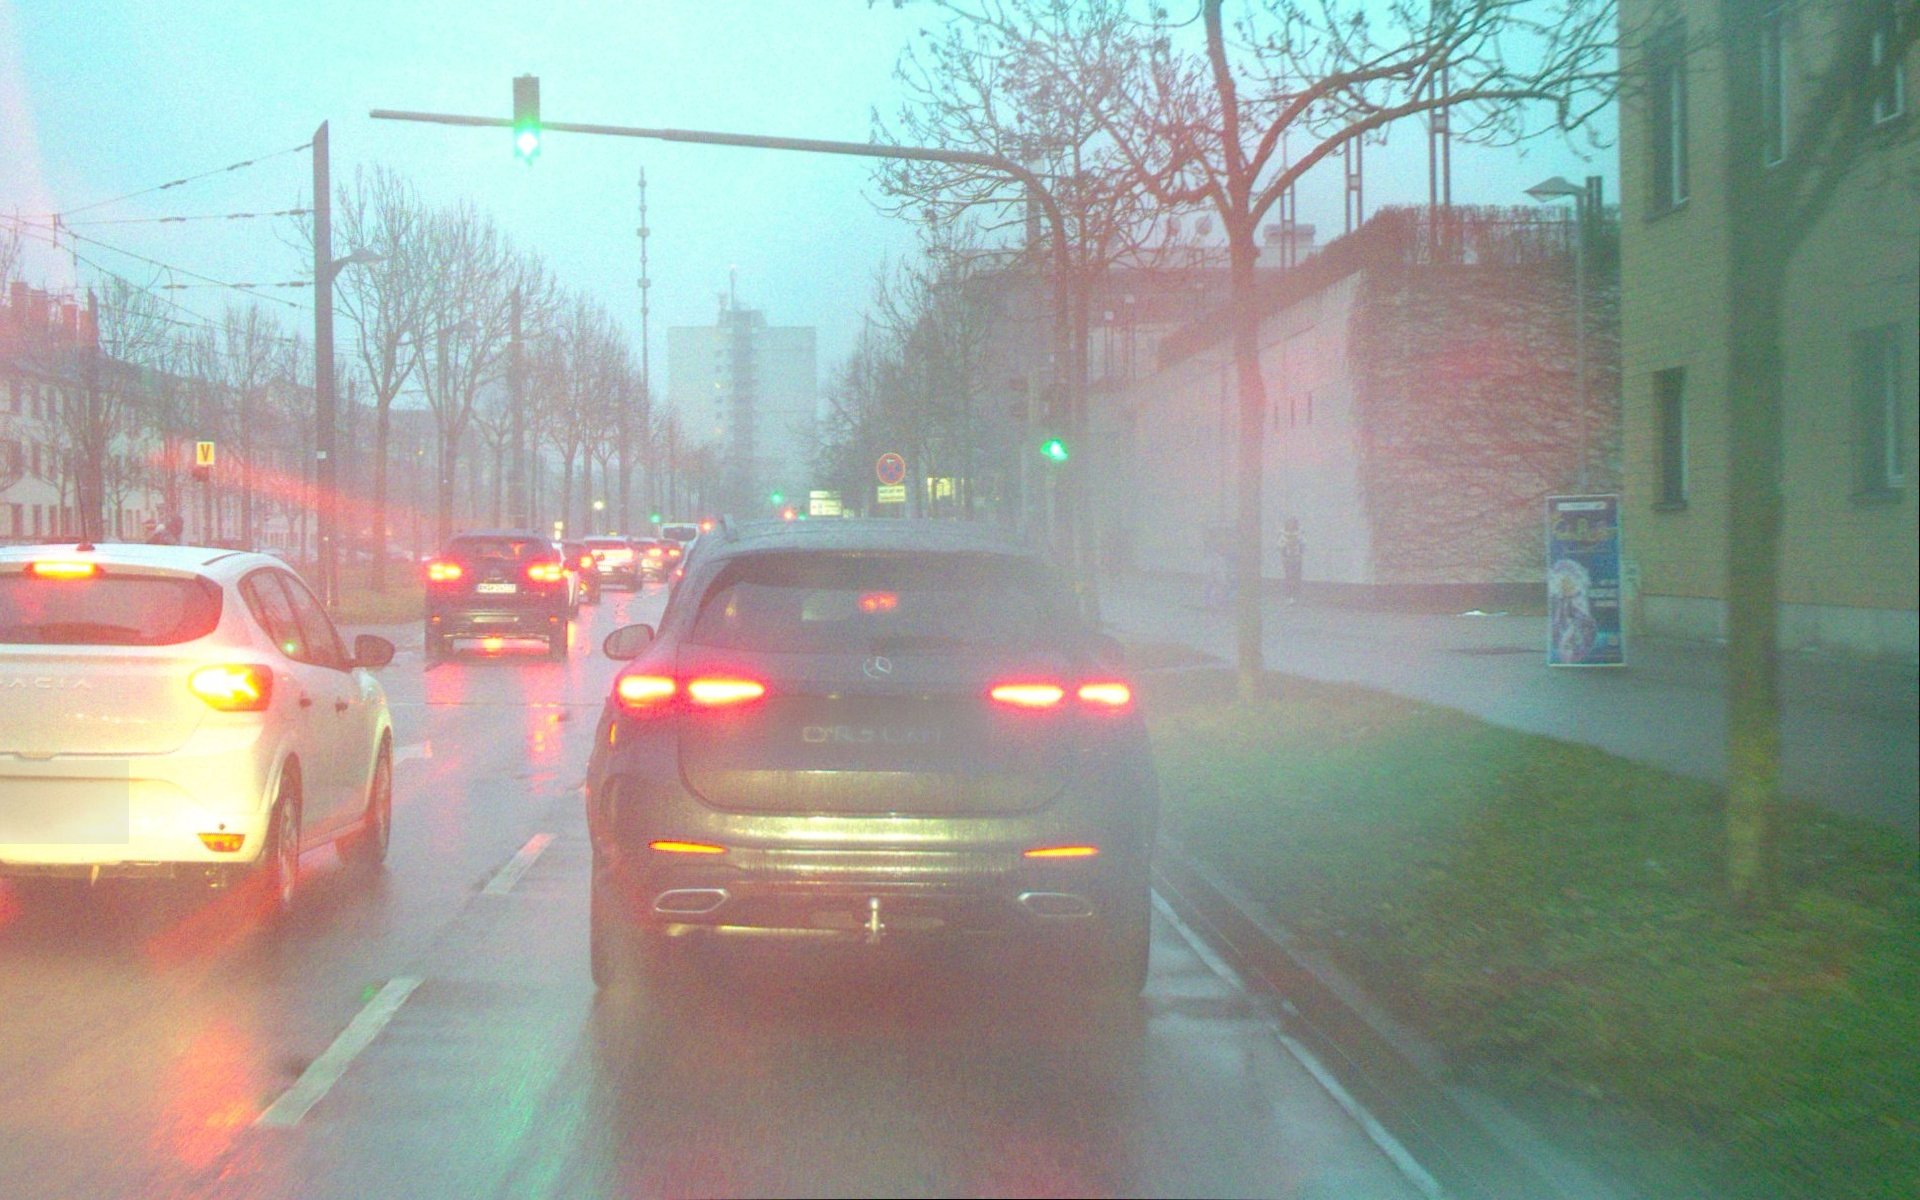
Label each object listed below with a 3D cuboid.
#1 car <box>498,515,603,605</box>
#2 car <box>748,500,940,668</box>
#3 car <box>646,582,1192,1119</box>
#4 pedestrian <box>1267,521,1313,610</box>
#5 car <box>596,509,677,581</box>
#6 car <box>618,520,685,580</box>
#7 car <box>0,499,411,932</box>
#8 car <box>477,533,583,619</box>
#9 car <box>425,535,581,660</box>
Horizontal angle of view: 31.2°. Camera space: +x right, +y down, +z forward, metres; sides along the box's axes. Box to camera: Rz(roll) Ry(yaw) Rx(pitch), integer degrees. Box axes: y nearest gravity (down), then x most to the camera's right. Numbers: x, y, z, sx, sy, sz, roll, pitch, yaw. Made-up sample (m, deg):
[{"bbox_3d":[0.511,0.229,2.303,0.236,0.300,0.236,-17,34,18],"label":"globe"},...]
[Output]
[{"bbox_3d":[-9.482,-0.914,79.848,1.993,2.007,4.000,1,0,-1],"label":"car"},{"bbox_3d":[-1.289,-0.205,38.354,1.993,1.738,4.000,-1,1,-2],"label":"car"},{"bbox_3d":[-0.193,0.755,12.552,1.672,1.594,4.054,0,1,-2],"label":"car"},{"bbox_3d":[6.090,-0.644,63.475,0.621,1.605,1.067,-1,1,-6],"label":"pedestrian"},{"bbox_3d":[-9.270,-1.560,98.737,1.993,2.007,4.000,1,0,-1],"label":"car"},{"bbox_3d":[-10.503,-1.690,117.271,1.993,2.007,4.000,1,0,-1],"label":"car"},{"bbox_3d":[-3.443,0.392,14.699,1.672,1.594,4.054,0,1,-2],"label":"car"},{"bbox_3d":[-8.249,-0.482,66.234,1.672,1.594,4.054,0,1,-2],"label":"car"},{"bbox_3d":[-6.053,-0.066,45.874,1.672,1.594,4.054,0,1,-2],"label":"car"}]
